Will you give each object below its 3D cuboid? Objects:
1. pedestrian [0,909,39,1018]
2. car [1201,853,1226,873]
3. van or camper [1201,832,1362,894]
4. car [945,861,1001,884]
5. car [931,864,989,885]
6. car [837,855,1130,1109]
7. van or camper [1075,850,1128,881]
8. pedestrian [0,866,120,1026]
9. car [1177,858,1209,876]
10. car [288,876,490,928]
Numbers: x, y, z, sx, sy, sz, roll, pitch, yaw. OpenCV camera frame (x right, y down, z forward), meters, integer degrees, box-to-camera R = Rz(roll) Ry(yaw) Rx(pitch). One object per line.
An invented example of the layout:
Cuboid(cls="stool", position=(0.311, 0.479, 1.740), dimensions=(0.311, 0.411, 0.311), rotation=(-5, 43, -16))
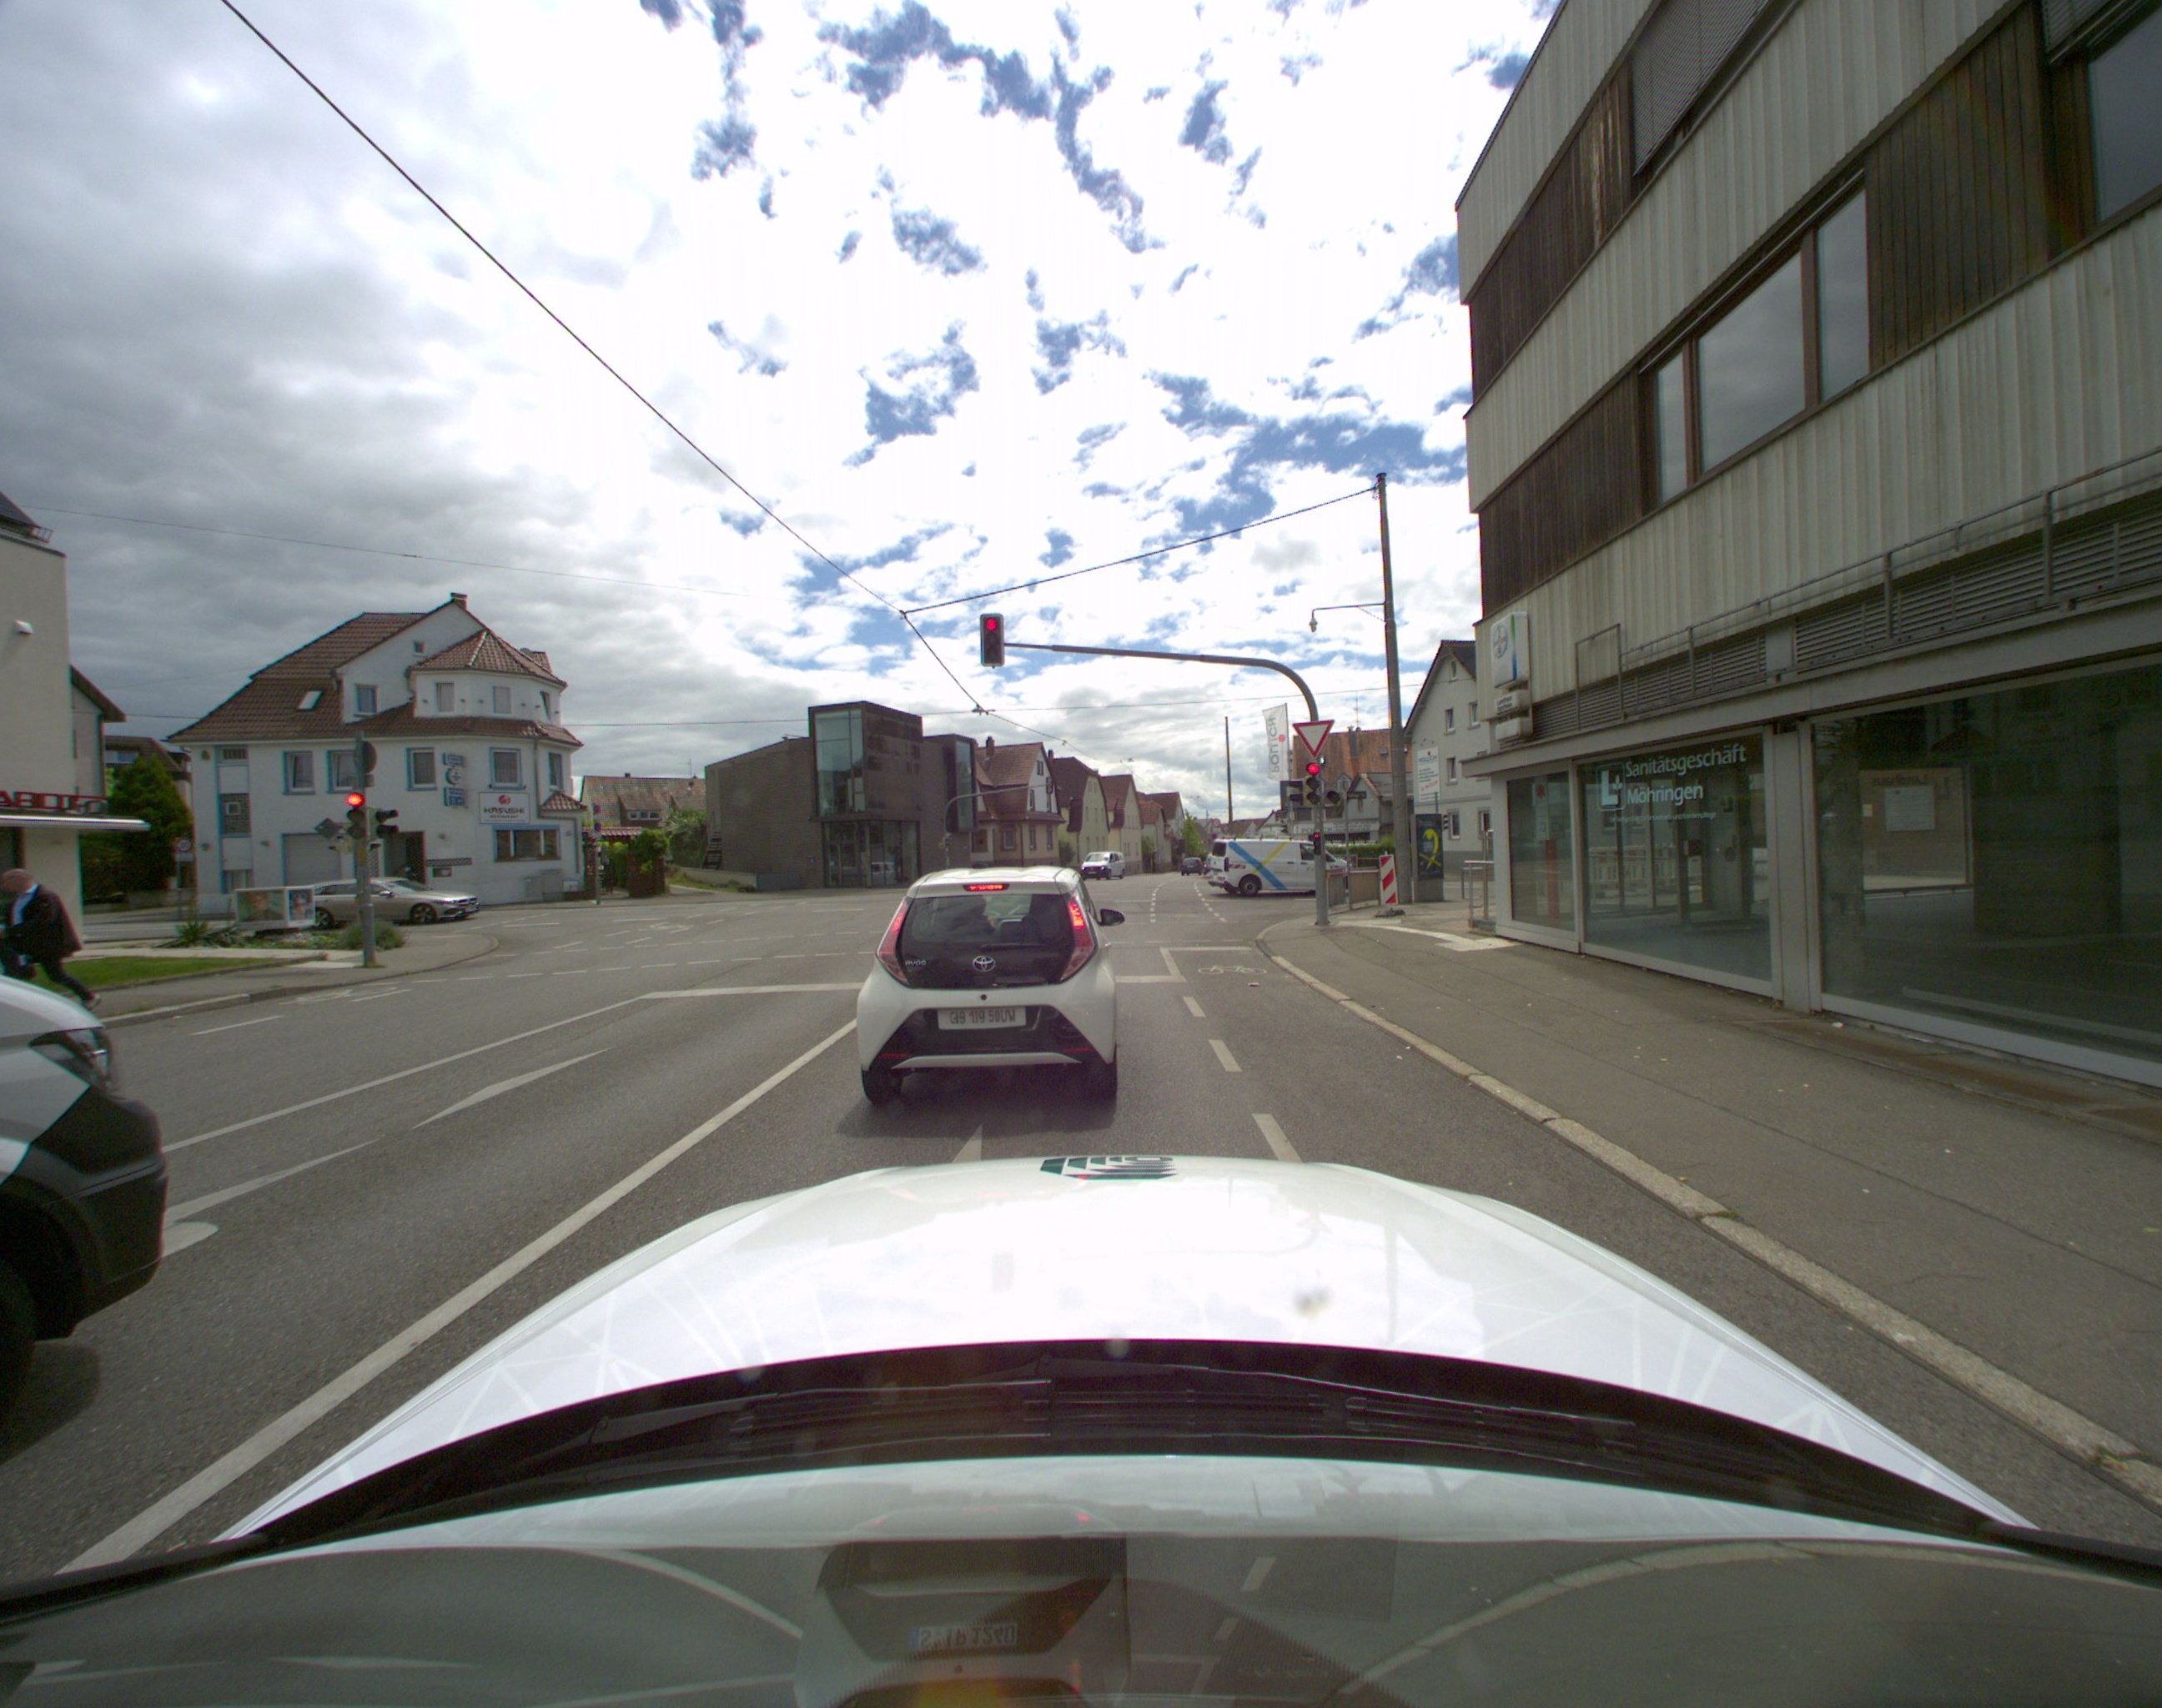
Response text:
Cuboid(cls="pedestrian", position=(-12.676, 1.277, 9.269), dimensions=(0.643, 1.221, 0.734), rotation=(-2, 0, -5))
Cuboid(cls="car", position=(12.900, 0.874, 78.899), dimensions=(1.979, 1.849, 4.089), rotation=(-1, 0, 15))
Cuboid(cls="van or camper", position=(6.954, 0.295, 28.453), dimensions=(5.113, 2.077, 1.995), rotation=(0, 0, -8))
Cuboid(cls="car", position=(-7.828, 1.359, 59.216), dimensions=(3.589, 1.605, 1.697), rotation=(-1, 0, 13))
Cuboid(cls="car", position=(-8.475, 1.452, 57.106), dimensions=(3.589, 1.419, 1.697), rotation=(-1, 0, 13))
Cuboid(cls="car", position=(-0.565, 0.748, 6.394), dimensions=(1.691, 1.456, 3.298), rotation=(-1, 0, 0))
Cuboid(cls="van or camper", position=(1.436, 0.725, 53.847), dimensions=(2.099, 1.926, 5.308), rotation=(-1, 0, 17))
Cuboid(cls="pedestrian", position=(-11.916, 1.021, 9.314), dimensions=(0.813, 1.721, 0.823), rotation=(-2, 0, -5))
Cuboid(cls="car", position=(9.335, 1.056, 67.510), dimensions=(1.978, 1.486, 4.018), rotation=(-1, 0, 18))
Cuboid(cls="car", position=(-21.424, 1.468, 25.382), dimensions=(4.494, 1.456, 1.893), rotation=(-1, 0, -6))
